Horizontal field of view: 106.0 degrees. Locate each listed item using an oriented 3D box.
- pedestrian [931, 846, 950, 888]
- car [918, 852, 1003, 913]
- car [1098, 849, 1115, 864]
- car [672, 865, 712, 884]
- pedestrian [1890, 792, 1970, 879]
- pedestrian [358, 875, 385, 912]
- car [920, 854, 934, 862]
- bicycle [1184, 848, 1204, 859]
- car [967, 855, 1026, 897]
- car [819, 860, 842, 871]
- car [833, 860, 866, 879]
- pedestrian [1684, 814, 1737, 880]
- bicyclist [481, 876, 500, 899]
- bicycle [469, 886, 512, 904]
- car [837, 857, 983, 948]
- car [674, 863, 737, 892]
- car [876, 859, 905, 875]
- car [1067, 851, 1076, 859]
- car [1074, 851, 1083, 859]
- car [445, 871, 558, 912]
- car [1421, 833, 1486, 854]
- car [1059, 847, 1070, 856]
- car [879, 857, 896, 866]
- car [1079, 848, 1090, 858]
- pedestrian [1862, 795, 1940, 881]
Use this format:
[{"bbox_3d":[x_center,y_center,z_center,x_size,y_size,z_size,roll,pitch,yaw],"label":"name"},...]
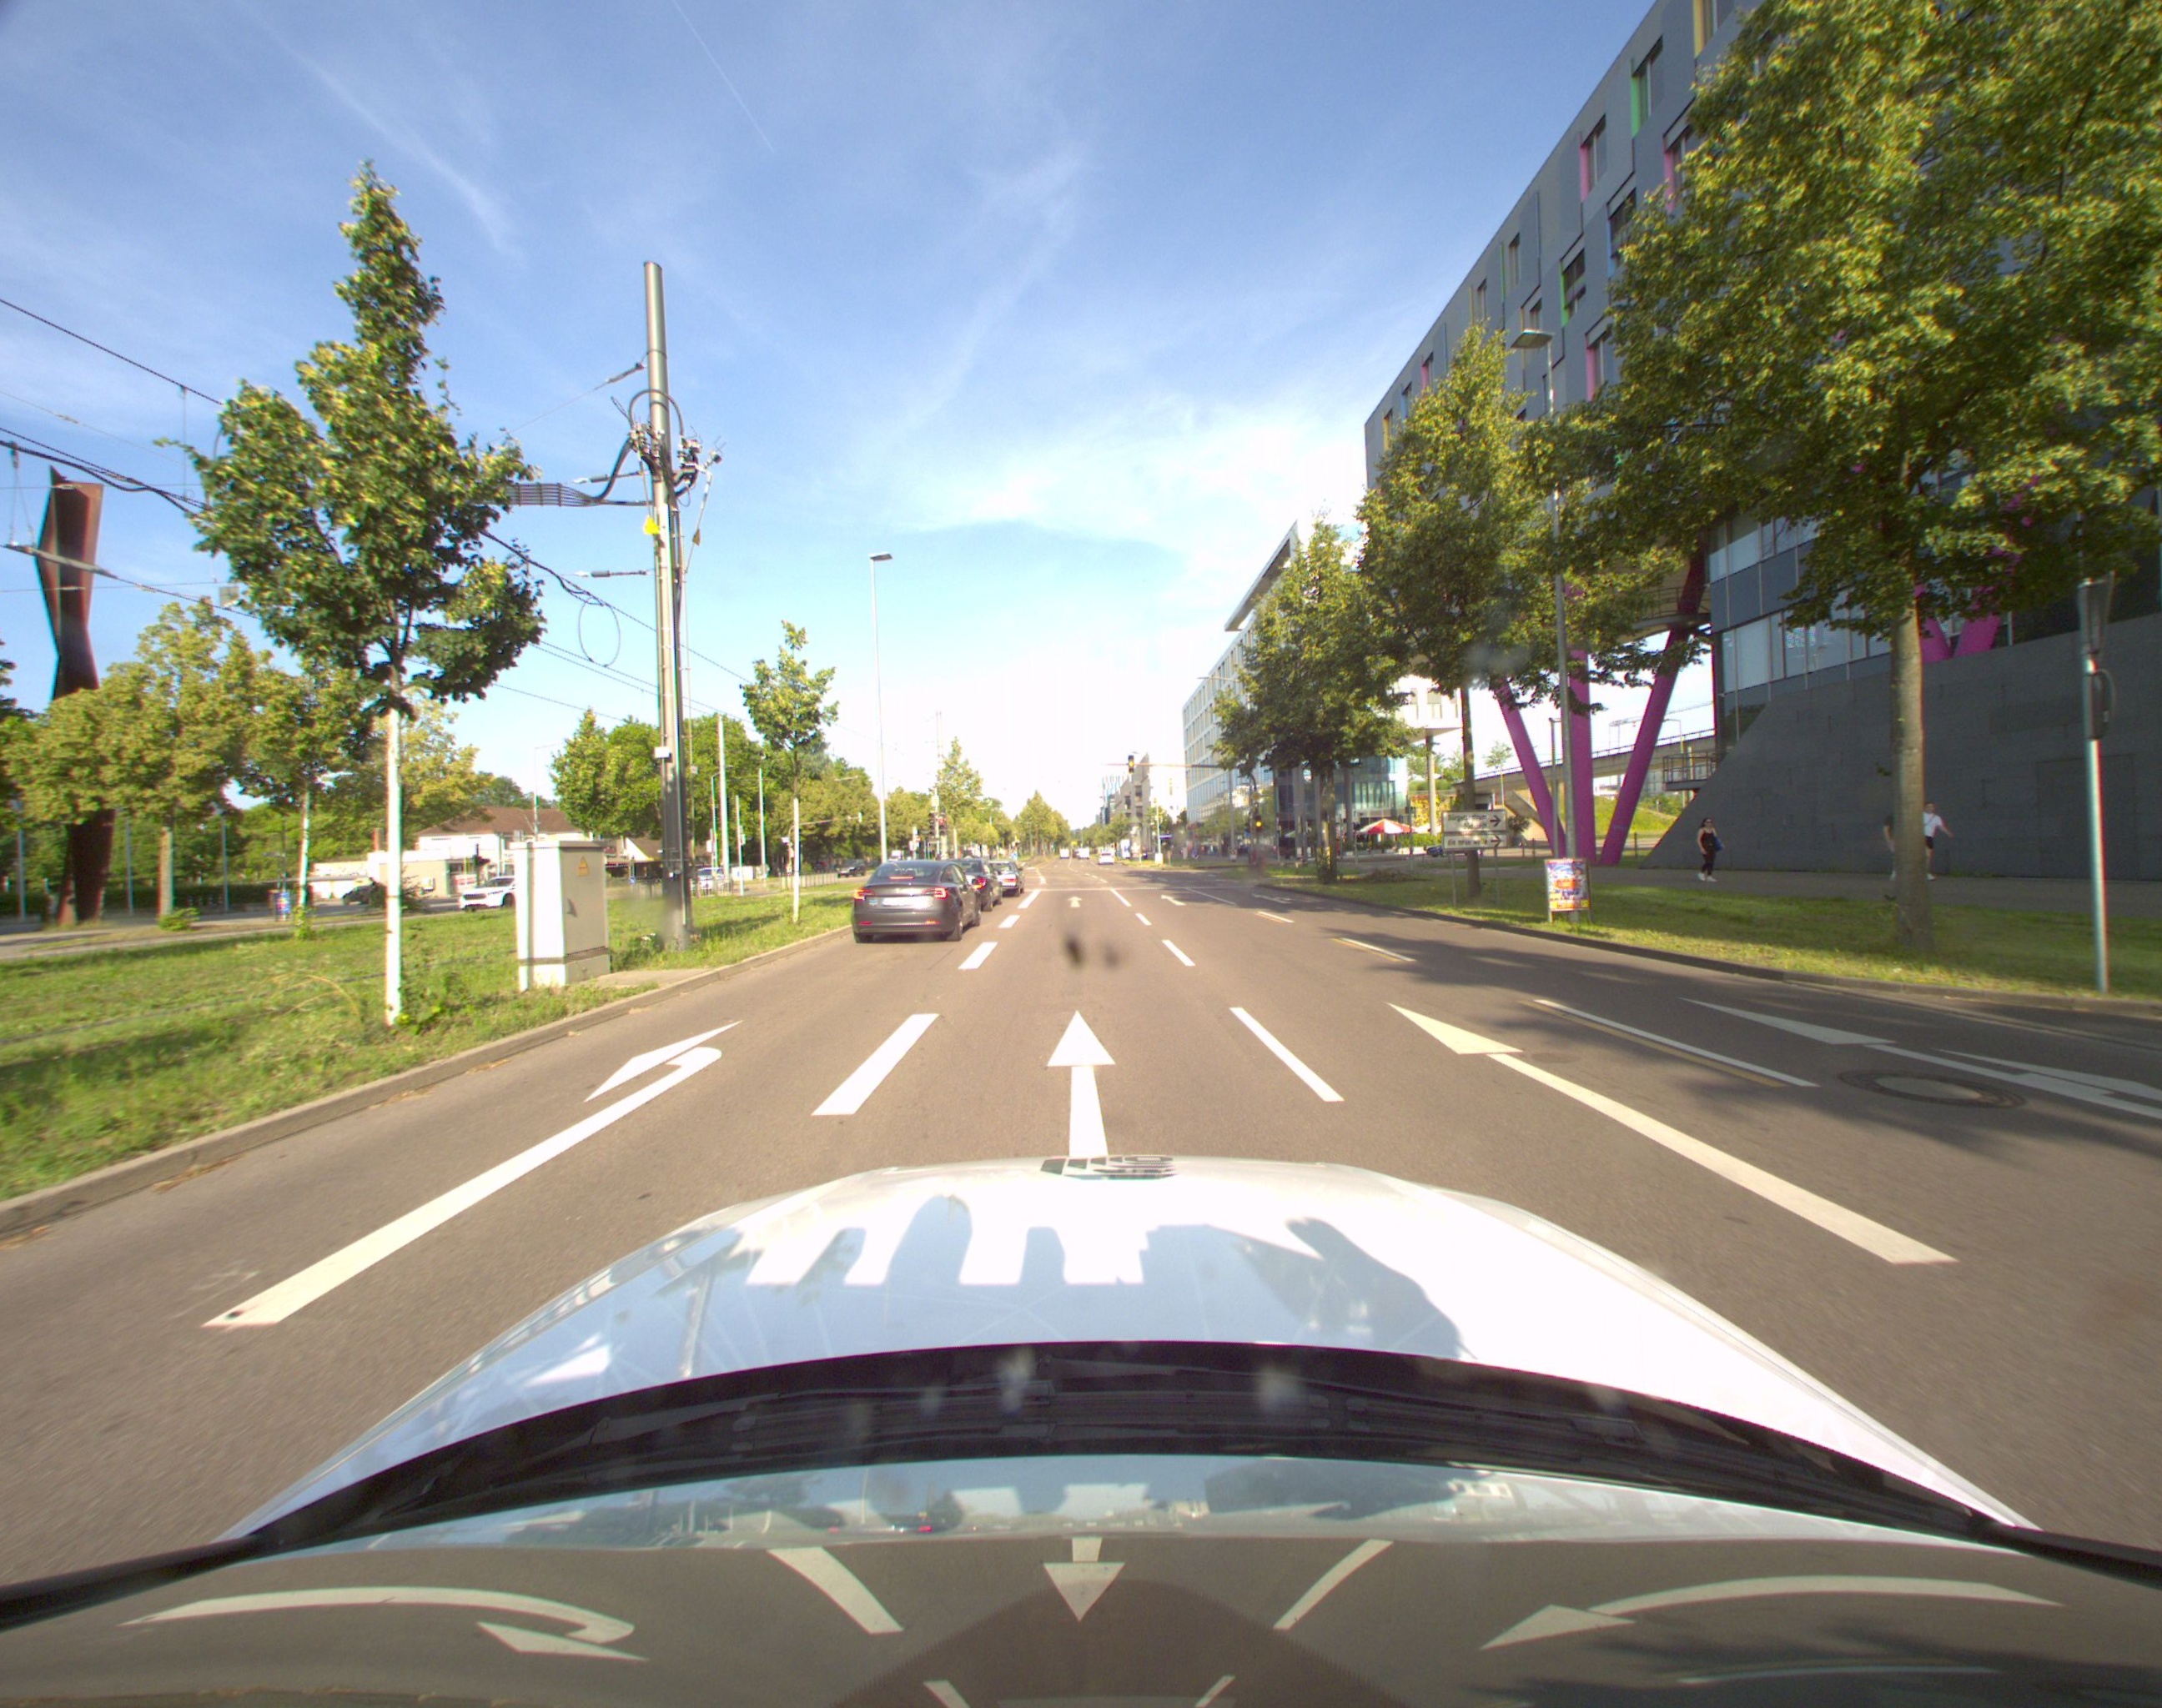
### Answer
[{"bbox_3d":[-6.047,0.559,35.137,0.697,1.792,0.635,-1,0,-1],"label":"pedestrian"},{"bbox_3d":[-3.252,0.711,22.740,1.781,1.478,4.352,-1,1,-1],"label":"car"},{"bbox_3d":[2.897,0.246,93.561,1.858,1.684,4.000,-1,1,0],"label":"car"},{"bbox_3d":[-40.674,2.134,85.206,1.872,1.750,4.005,-3,0,5],"label":"car"},{"bbox_3d":[18.678,-0.406,17.926,0.766,1.825,0.852,-4,0,-2],"label":"pedestrian"},{"bbox_3d":[-41.999,2.336,48.230,0.715,2.107,0.887,-4,0,29],"label":"pedestrian"},{"bbox_3d":[-33.934,0.896,179.457,1.872,1.559,4.005,-3,0,5],"label":"car"},{"bbox_3d":[11.637,-0.057,83.749,0.778,1.032,1.855,-2,0,-44],"label":"bicycle"},{"bbox_3d":[-2.943,0.735,29.250,1.759,1.330,4.397,-1,1,-1],"label":"car"},{"bbox_3d":[-38.128,1.761,124.028,1.872,1.559,4.005,-3,0,5],"label":"car"},{"bbox_3d":[-22.945,1.483,80.765,1.989,1.684,4.990,-2,1,-3],"label":"car"},{"bbox_3d":[16.464,-0.178,21.318,0.692,1.638,0.736,-4,0,-2],"label":"pedestrian"},{"bbox_3d":[-40.032,2.295,55.222,0.851,1.493,0.694,-3,0,-23],"label":"bicyclist"},{"bbox_3d":[-40.024,2.759,55.214,2.205,1.041,0.694,-3,0,-24],"label":"bicycle"},{"bbox_3d":[-3.045,0.797,15.456,1.884,1.385,4.333,-1,1,-1],"label":"car"},{"bbox_3d":[-23.263,1.406,50.607,1.989,1.527,4.308,-2,1,-3],"label":"car"},{"bbox_3d":[-19.613,1.295,84.038,1.987,1.504,4.092,-2,0,0],"label":"car"},{"bbox_3d":[-2.214,0.211,181.297,1.919,1.684,3.998,-1,1,-2],"label":"car"},{"bbox_3d":[-0.481,0.161,166.719,1.918,1.684,4.000,-1,1,0],"label":"car"},{"bbox_3d":[-26.379,1.652,37.287,1.900,1.527,4.440,-2,1,0],"label":"car"},{"bbox_3d":[28.820,-0.828,63.078,4.173,1.424,1.858,-3,1,-2],"label":"car"},{"bbox_3d":[-3.186,-0.482,154.557,2.008,1.684,4.000,-1,1,0],"label":"car"},{"bbox_3d":[-35.871,1.331,151.080,1.872,1.559,4.005,-3,0,5],"label":"car"},{"bbox_3d":[0.563,-0.143,141.273,1.858,1.684,4.000,-1,1,0],"label":"car"},{"bbox_3d":[18.066,-0.347,17.964,0.752,1.793,0.843,-4,0,-2],"label":"pedestrian"}]
